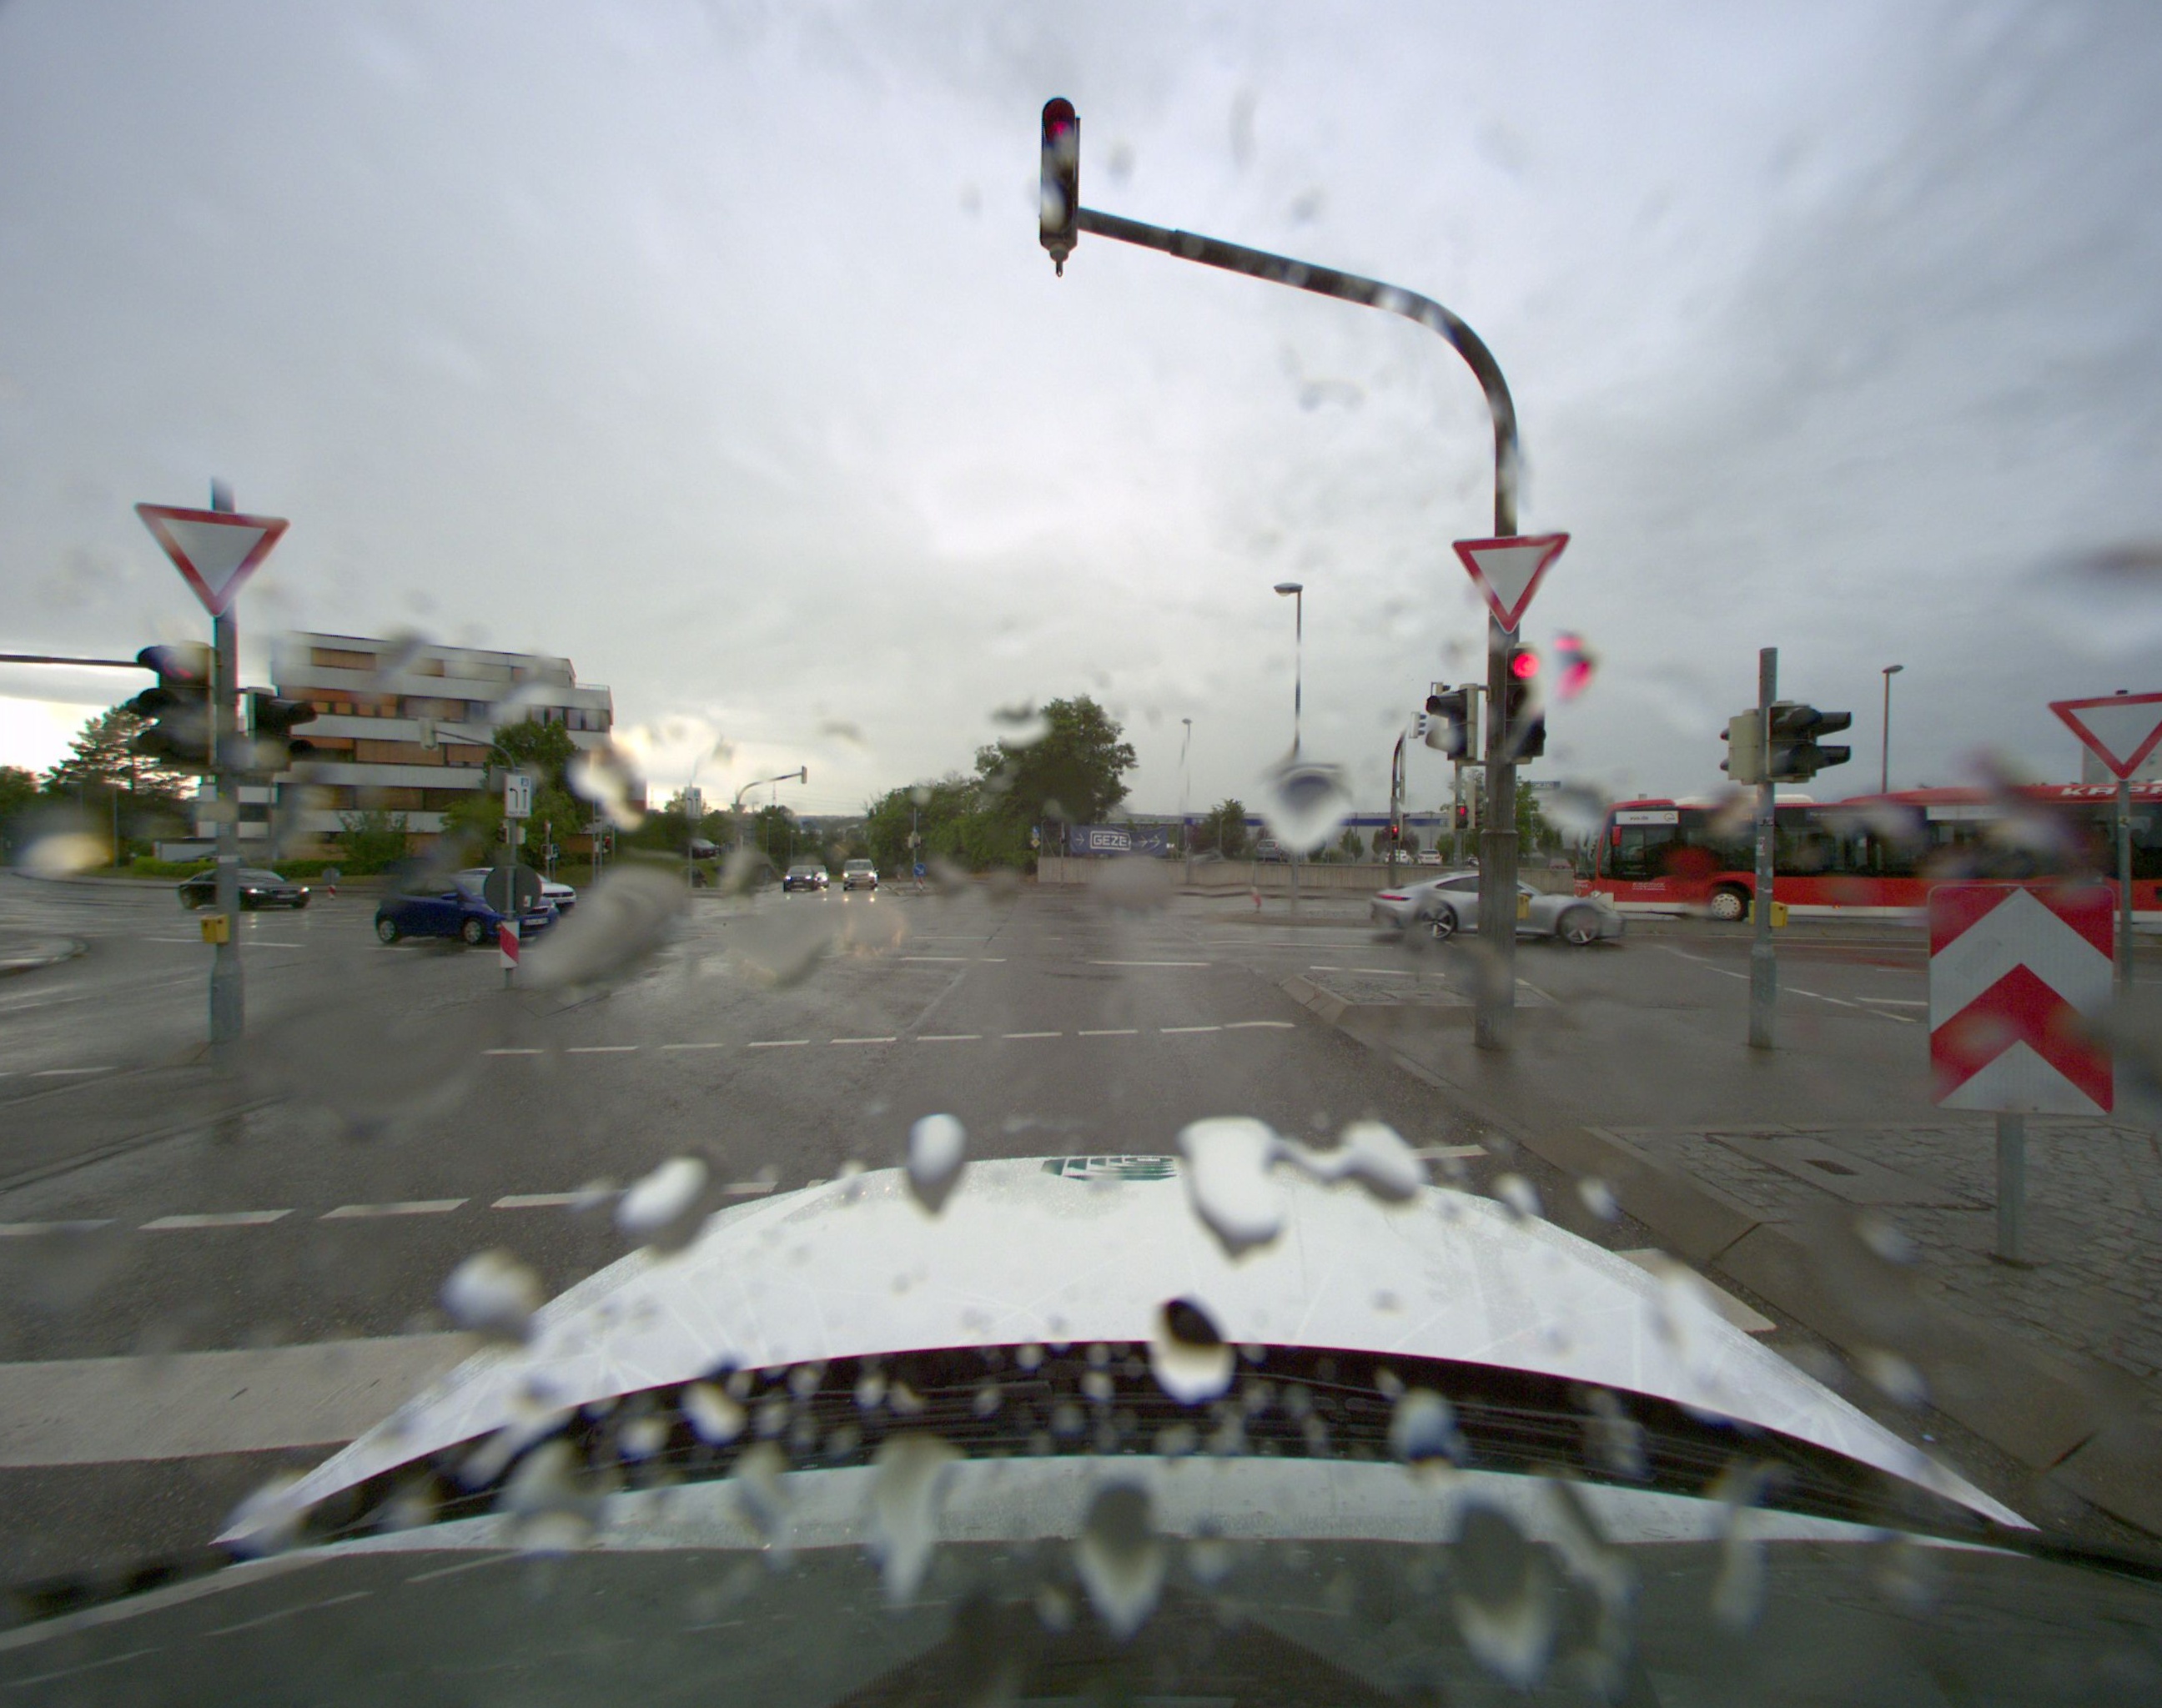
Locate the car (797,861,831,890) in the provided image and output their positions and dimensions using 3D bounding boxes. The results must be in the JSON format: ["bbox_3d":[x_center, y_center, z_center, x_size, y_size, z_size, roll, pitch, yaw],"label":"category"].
[{"bbox_3d":[-18.319,1.423,55.928,1.997,1.895,3.979,0,0,-15],"label":"car"}]

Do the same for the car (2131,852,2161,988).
[{"bbox_3d":[15.599,0.837,9.034,4.561,1.702,2.009,0,0,16],"label":"car"}]

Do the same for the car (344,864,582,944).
[{"bbox_3d":[-12.954,0.997,17.152,3.959,1.514,1.852,0,0,13],"label":"car"}]

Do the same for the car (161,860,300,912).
[{"bbox_3d":[-30.082,1.093,28.830,3.953,1.684,2.010,0,0,21],"label":"car"}]

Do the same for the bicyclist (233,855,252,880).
[{"bbox_3d":[-48.687,0.774,47.284,0.538,1.446,0.606,0,0,23],"label":"bicyclist"}]

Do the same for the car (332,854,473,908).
[{"bbox_3d":[-24.690,0.929,29.681,4.108,1.840,2.009,0,0,17],"label":"car"}]

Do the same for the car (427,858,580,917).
[{"bbox_3d":[-17.677,0.973,24.948,3.954,1.643,1.830,0,0,19],"label":"car"}]

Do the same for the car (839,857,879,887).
[{"bbox_3d":[-13.056,1.016,48.071,1.995,1.618,3.985,0,0,-11],"label":"car"}]

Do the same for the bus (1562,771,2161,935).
[{"bbox_3d":[18.664,-0.105,19.243,12.176,3.321,3.090,1,0,19],"label":"bus"}]

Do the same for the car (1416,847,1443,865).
[{"bbox_3d":[28.693,0.145,67.162,1.976,1.478,4.021,0,0,21],"label":"car"}]

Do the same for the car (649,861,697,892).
[{"bbox_3d":[-26.246,1.418,52.510,1.997,1.895,3.979,0,0,-15],"label":"car"}]

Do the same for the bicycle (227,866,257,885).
[{"bbox_3d":[-48.717,1.251,47.289,1.758,1.052,0.613,0,0,23],"label":"bicycle"}]

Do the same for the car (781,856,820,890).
[{"bbox_3d":[-16.768,1.112,48.842,1.998,1.895,3.978,0,0,-16],"label":"car"}]

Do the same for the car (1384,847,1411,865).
[{"bbox_3d":[26.387,0.134,67.841,1.976,1.478,4.021,0,0,22],"label":"car"}]

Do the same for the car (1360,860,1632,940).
[{"bbox_3d":[7.771,0.815,15.721,4.400,1.358,1.864,0,0,14],"label":"car"}]

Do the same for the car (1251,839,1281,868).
[{"bbox_3d":[13.102,-0.051,57.539,1.979,2.013,4.015,0,0,13],"label":"car"}]
